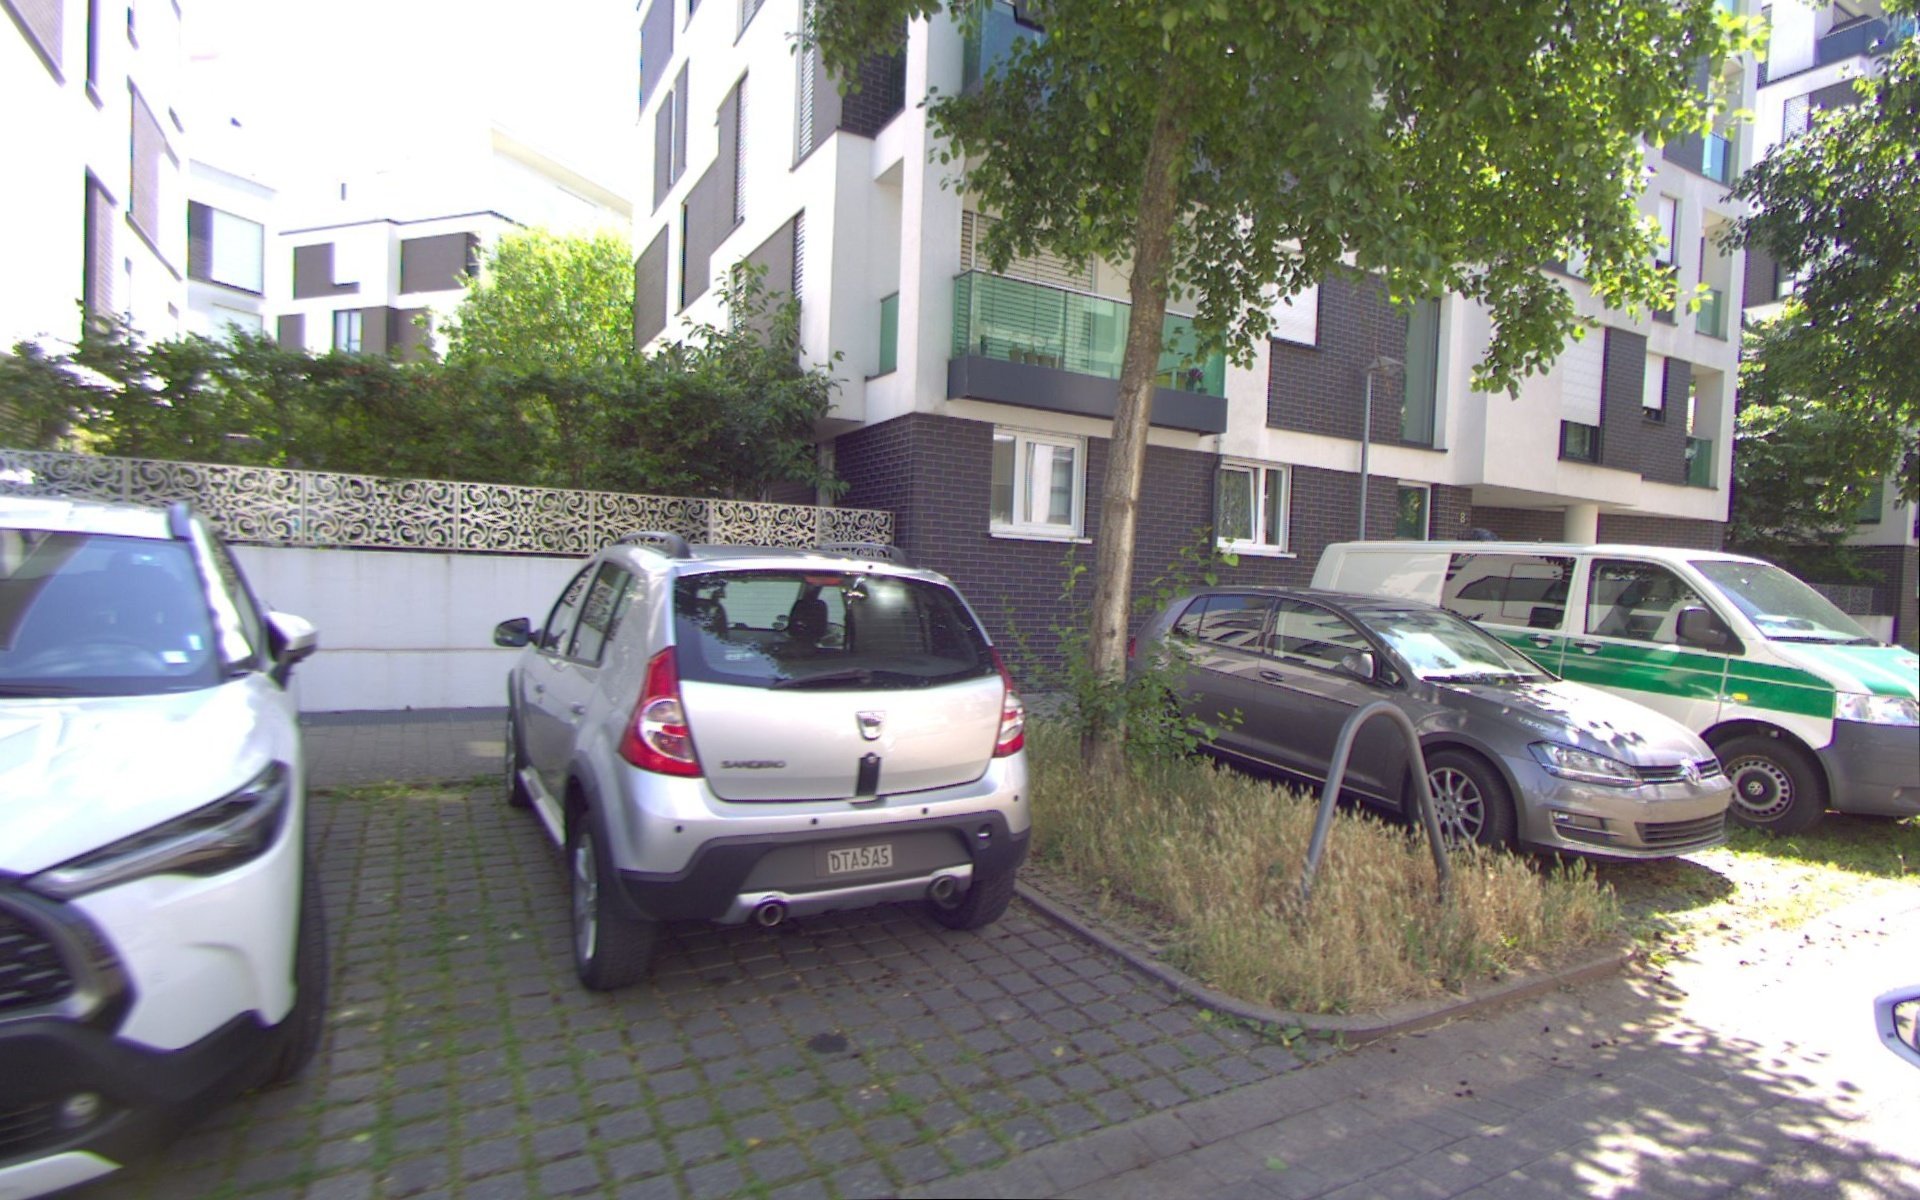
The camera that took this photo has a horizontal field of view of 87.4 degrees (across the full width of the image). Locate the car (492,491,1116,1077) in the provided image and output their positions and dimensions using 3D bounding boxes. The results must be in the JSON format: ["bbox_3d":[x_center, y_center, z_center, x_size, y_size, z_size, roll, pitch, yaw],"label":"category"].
[{"bbox_3d":[-1.132,0.455,4.941,1.830,1.698,3.662,1,3,-29],"label":"car"}]

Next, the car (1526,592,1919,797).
[{"bbox_3d":[7.825,0.786,9.819,1.658,1.501,3.606,2,3,-29],"label":"car"}]

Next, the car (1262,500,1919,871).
[{"bbox_3d":[5.341,0.450,8.628,2.159,2.139,5.322,2,1,-27],"label":"car"}]

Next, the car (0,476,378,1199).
[{"bbox_3d":[-3.277,0.433,3.428,1.946,1.615,4.529,1,3,-34],"label":"car"}]

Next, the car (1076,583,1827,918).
[{"bbox_3d":[2.963,0.699,7.114,1.977,1.509,4.398,2,1,-31],"label":"car"}]
